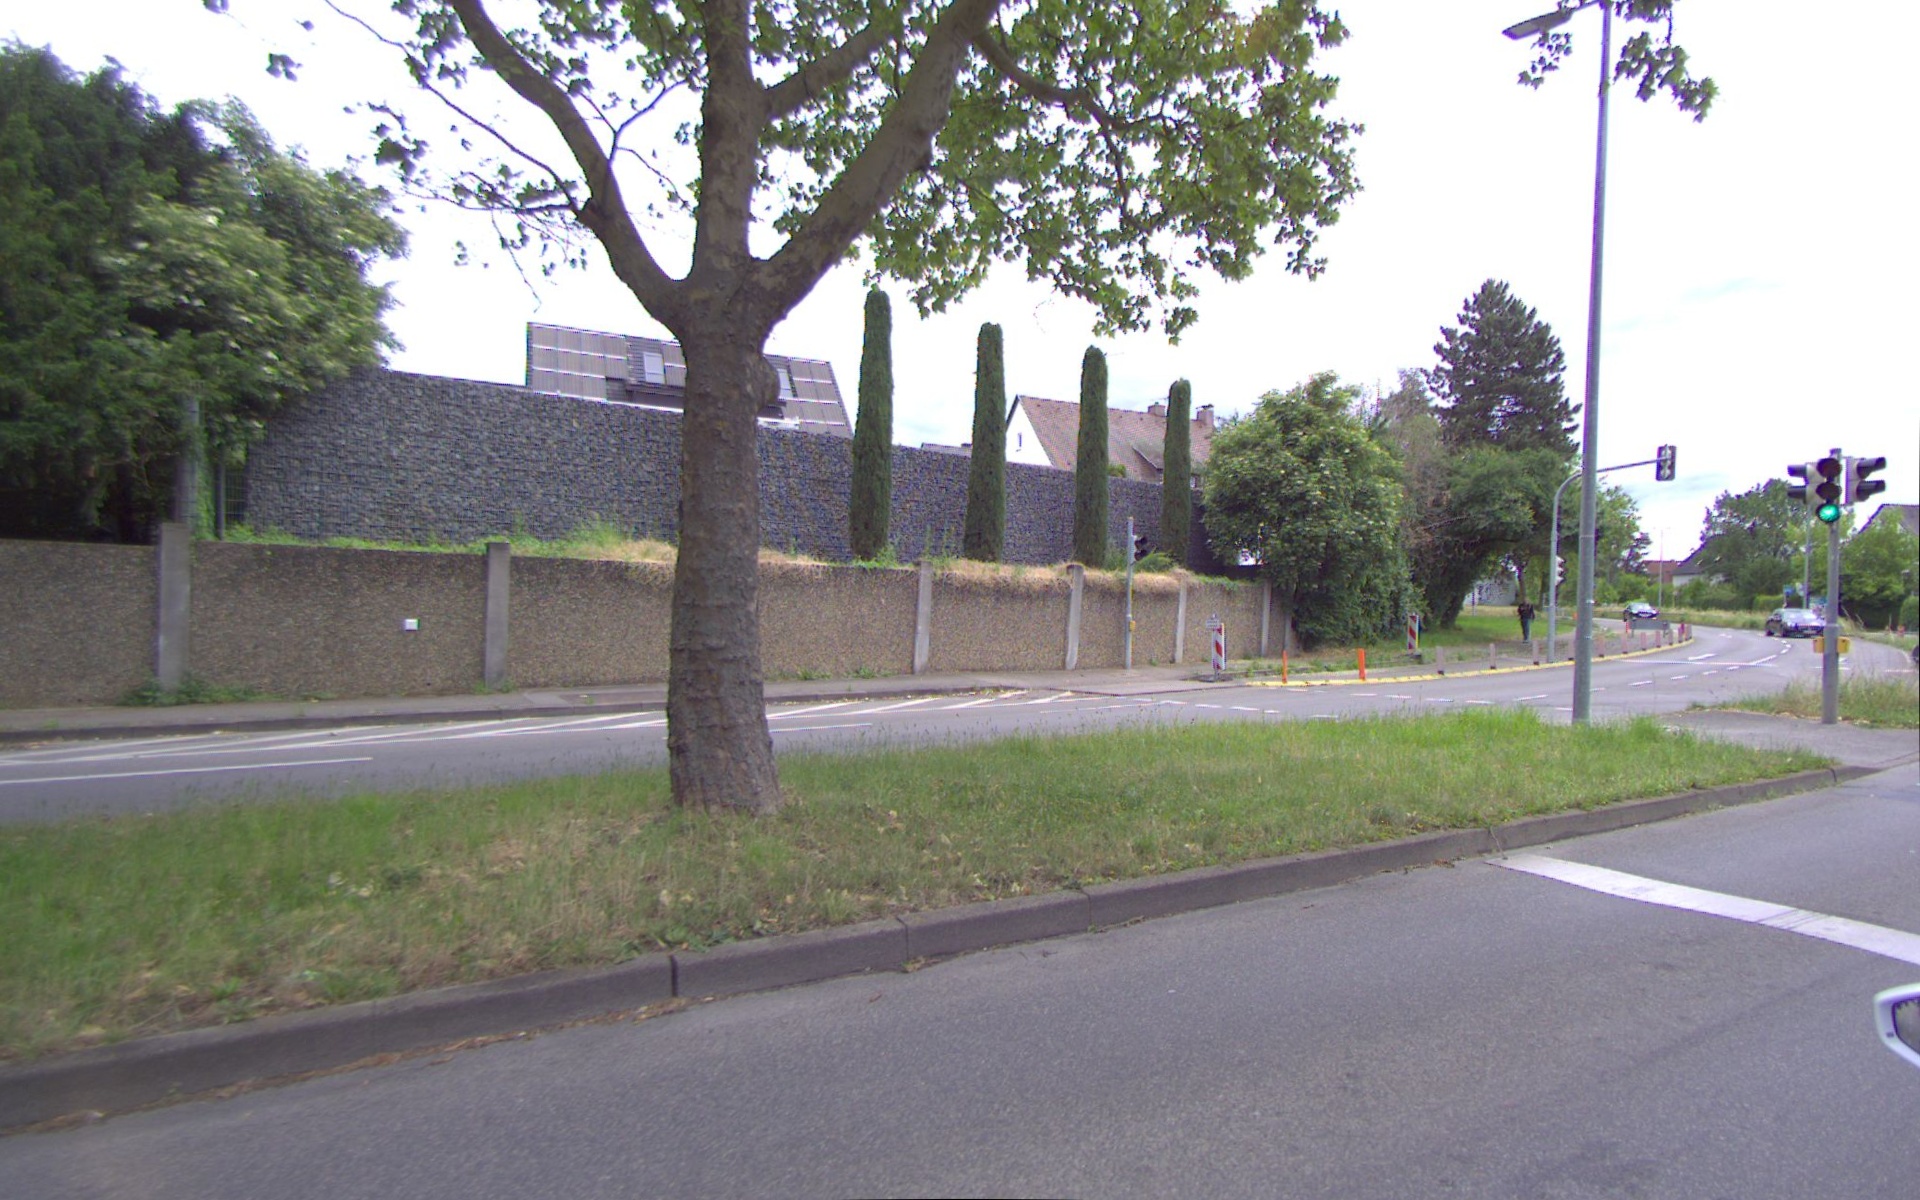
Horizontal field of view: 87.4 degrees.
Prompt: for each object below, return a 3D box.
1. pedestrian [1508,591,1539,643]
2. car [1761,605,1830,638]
[{"bbox_3d":[22.963,0.685,40.913,0.937,2.041,0.851,2,1,36],"label":"pedestrian"},{"bbox_3d":[43.666,1.082,52.592,1.812,1.653,4.256,0,0,26],"label":"car"}]
